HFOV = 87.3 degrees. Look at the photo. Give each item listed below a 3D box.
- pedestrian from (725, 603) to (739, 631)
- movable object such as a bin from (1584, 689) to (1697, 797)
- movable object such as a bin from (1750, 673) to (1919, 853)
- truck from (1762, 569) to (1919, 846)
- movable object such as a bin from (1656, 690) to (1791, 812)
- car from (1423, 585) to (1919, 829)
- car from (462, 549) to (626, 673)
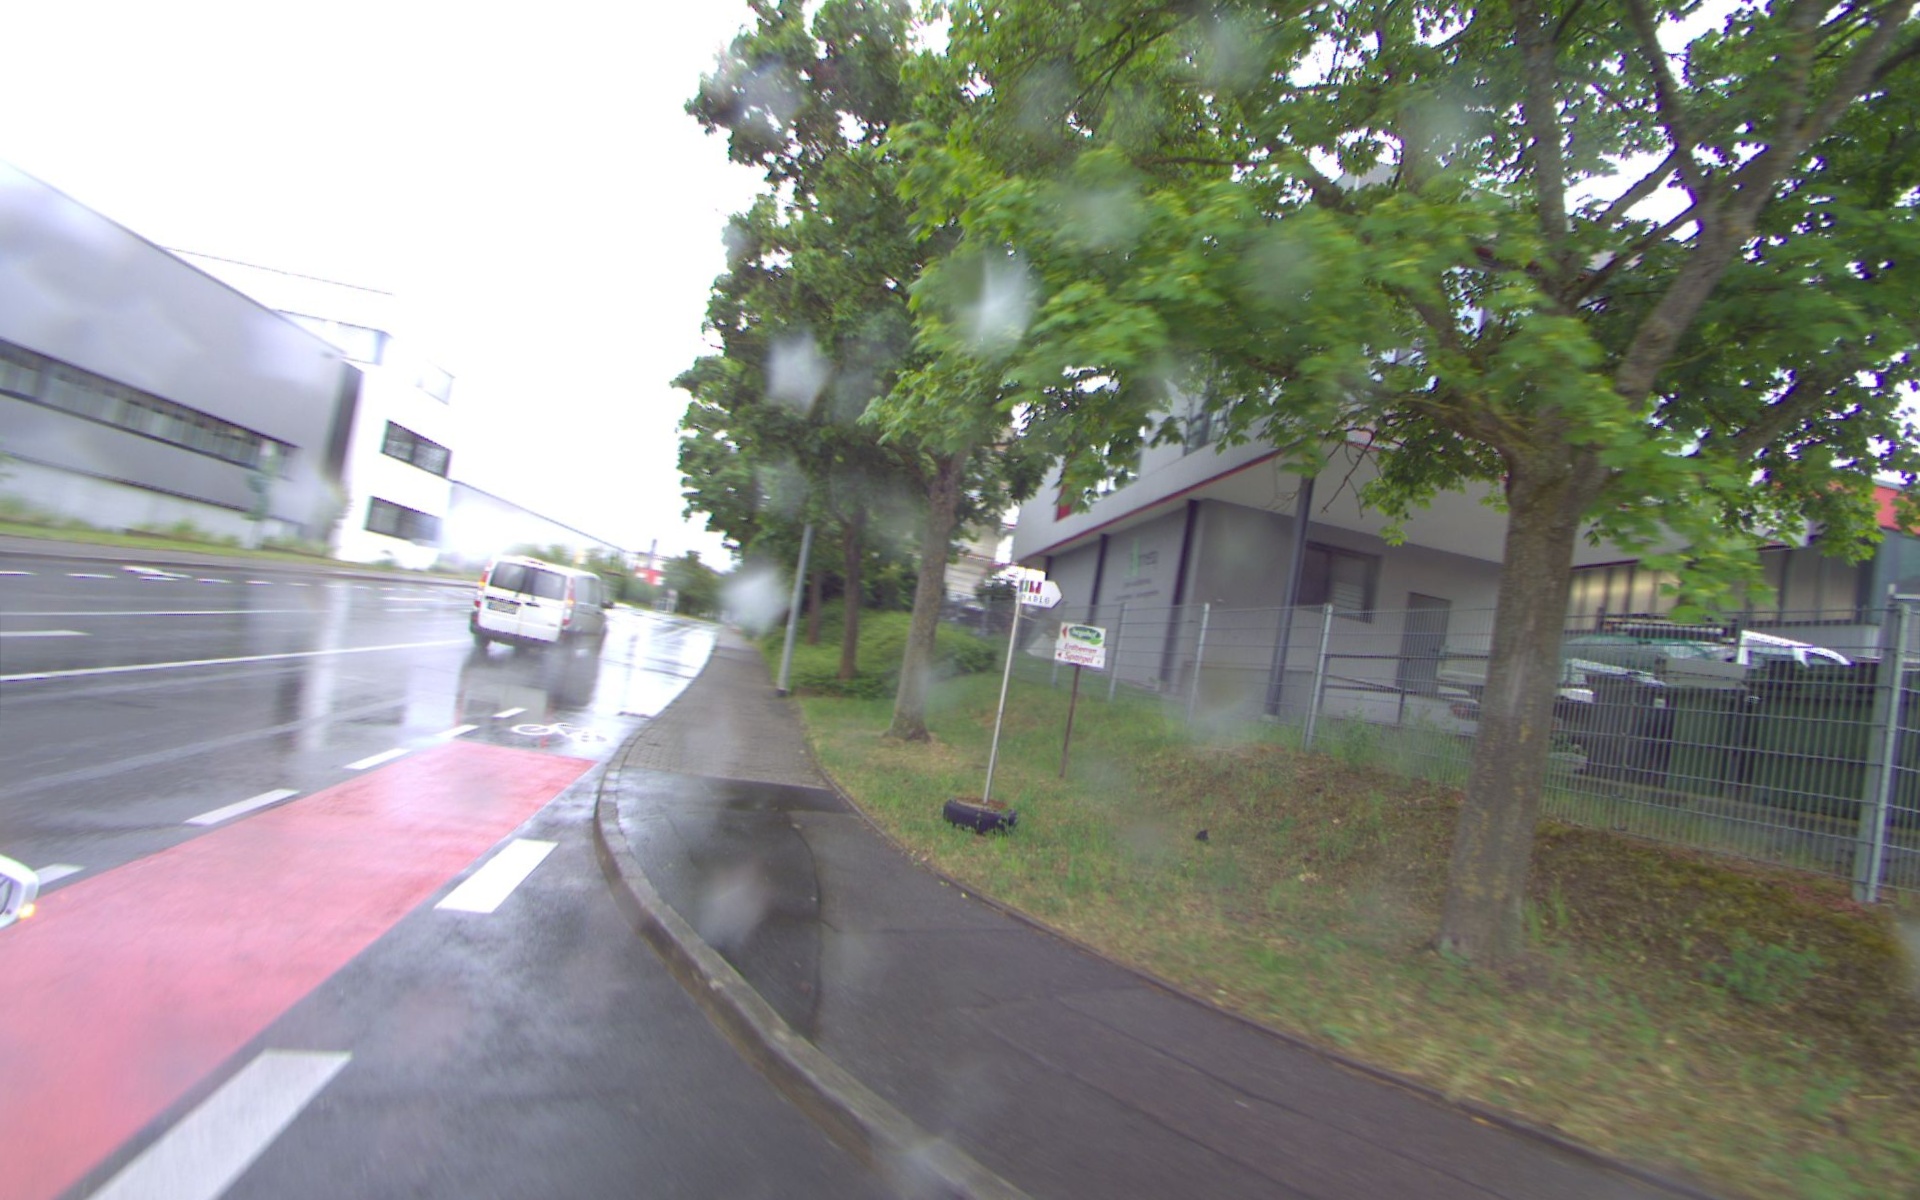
[{"bbox_3d":[-16.801,1.270,74.192,0.767,1.928,0.727,8,-2,-12],"label":"pedestrian"},{"bbox_3d":[5.874,1.222,8.701,0.531,0.811,0.522,8,-1,-10],"label":"movable object such as a bin"},{"bbox_3d":[6.225,1.095,6.761,0.869,1.054,1.052,8,-2,-8],"label":"movable object such as a bin"},{"bbox_3d":[10.473,1.269,9.292,4.764,2.368,2.244,9,-2,-15],"label":"truck"},{"bbox_3d":[5.994,1.175,7.920,0.531,0.827,0.565,8,-1,-10],"label":"movable object such as a bin"},{"bbox_3d":[8.343,1.221,11.799,4.859,2.036,2.060,8,-2,-12],"label":"car"},{"bbox_3d":[-8.570,0.256,21.276,1.874,2.040,5.366,9,-2,-11],"label":"car"}]
